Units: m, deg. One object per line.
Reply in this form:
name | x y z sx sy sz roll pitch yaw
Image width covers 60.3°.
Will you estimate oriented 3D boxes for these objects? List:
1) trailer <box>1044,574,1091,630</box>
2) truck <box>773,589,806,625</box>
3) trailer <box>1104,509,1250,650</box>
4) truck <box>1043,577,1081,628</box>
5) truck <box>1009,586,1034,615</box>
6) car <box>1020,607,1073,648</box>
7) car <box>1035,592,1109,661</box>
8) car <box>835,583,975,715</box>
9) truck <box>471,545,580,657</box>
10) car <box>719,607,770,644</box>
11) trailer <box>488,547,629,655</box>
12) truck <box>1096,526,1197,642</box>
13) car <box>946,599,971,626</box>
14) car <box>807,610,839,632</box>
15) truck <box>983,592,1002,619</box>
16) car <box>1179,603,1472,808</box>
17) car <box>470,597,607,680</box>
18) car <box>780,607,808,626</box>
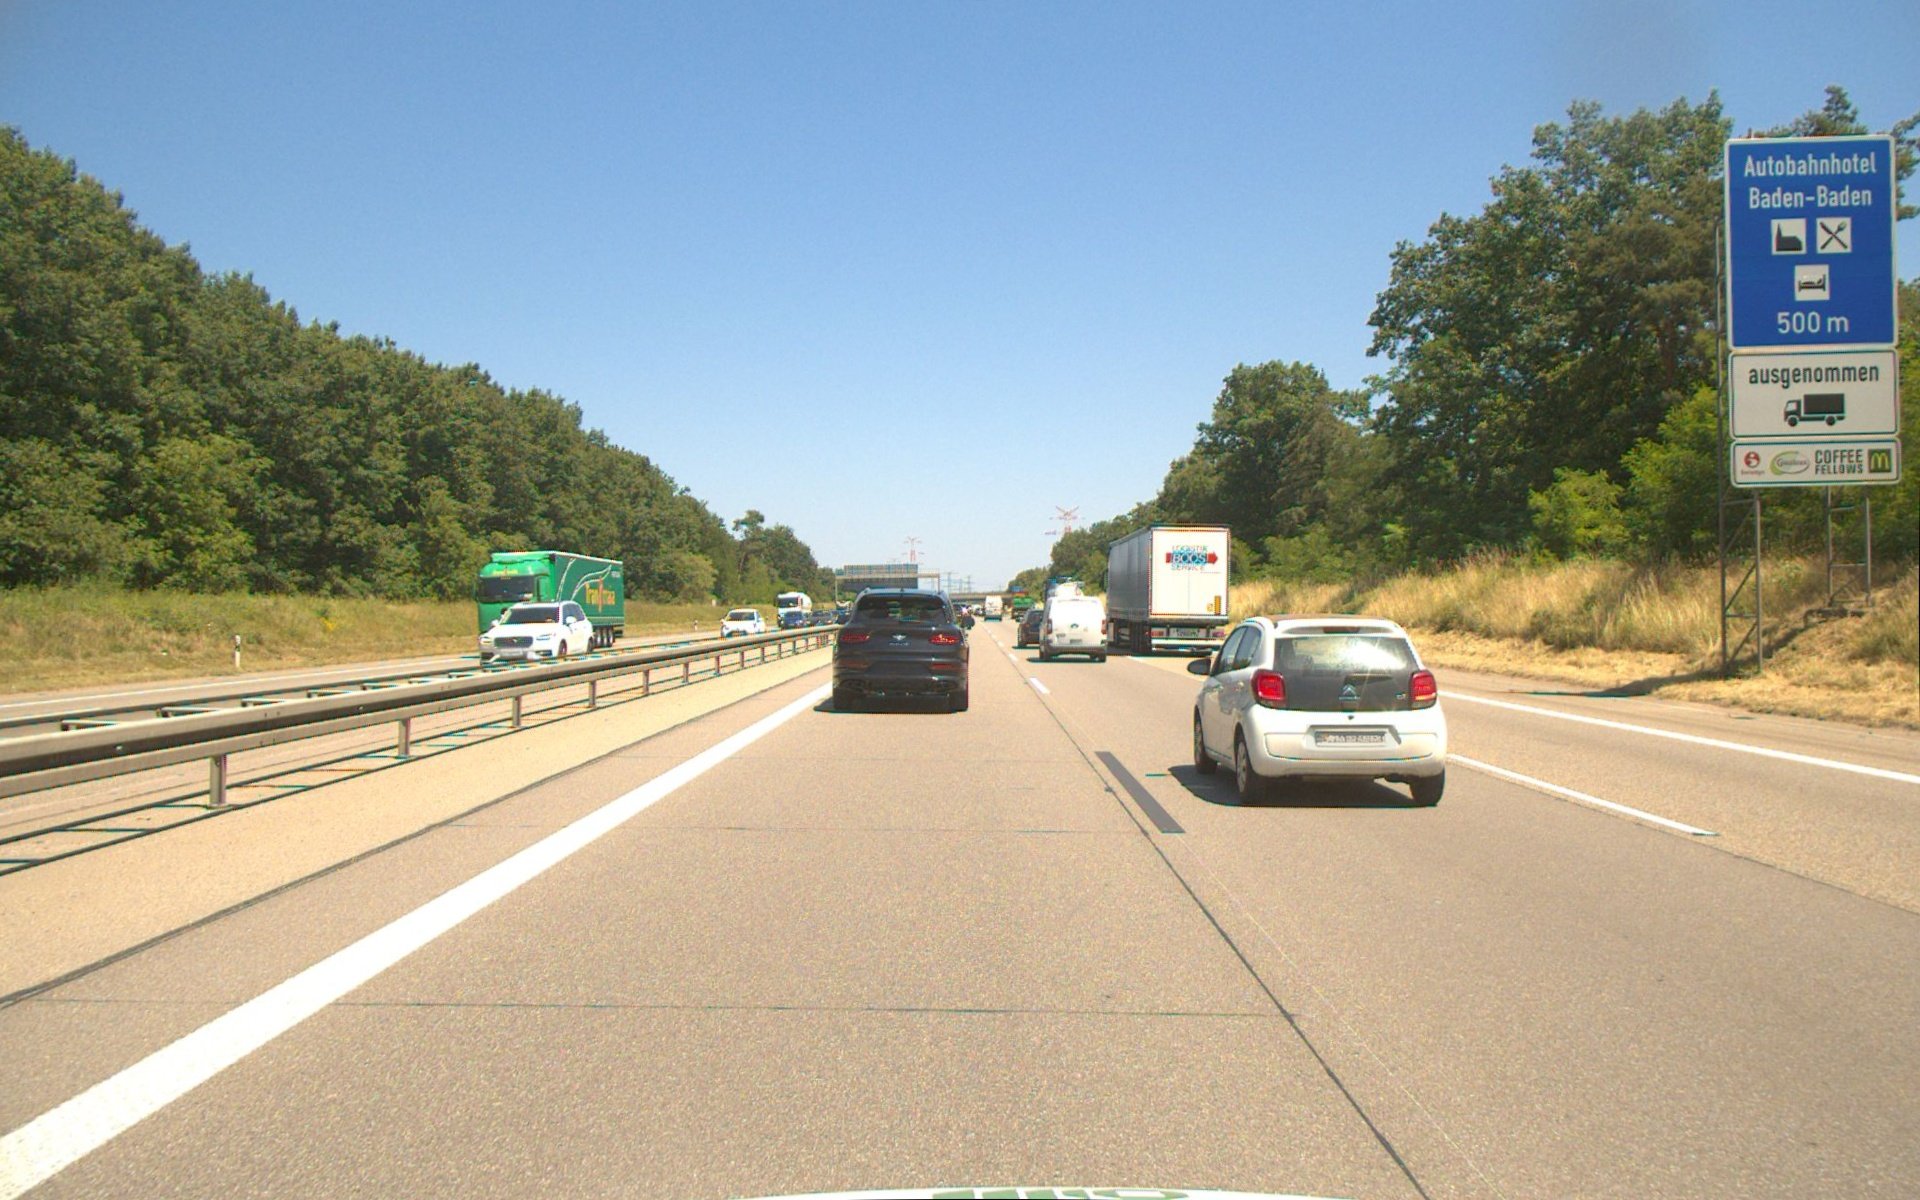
trailer | 7.995 0.194 124.127 2.628 3.904 12.008 1 0 0
truck | -17.340 0.668 168.696 2.627 3.494 6.144 -2 0 0
trailer | 7.311 -0.590 57.868 3.219 4.293 13.563 1 0 0
truck | 7.977 0.238 129.813 2.628 3.904 4.443 1 -1 0
truck | 8.530 0.121 229.890 2.928 3.794 10.088 1 0 0
car | 3.209 1.016 61.852 1.738 1.498 3.872 0 0 0
car | 3.181 0.743 47.852 1.777 1.859 5.110 0 0 0
car | -0.779 0.649 25.550 1.901 1.783 5.812 1 0 -1
truck | -17.744 0.054 67.958 2.645 4.233 6.296 -3 0 0
car | -9.647 1.127 74.331 1.622 1.526 4.600 -3 0 0
trailer | -17.743 0.068 74.382 2.649 4.233 14.337 -3 0 0
truck | 7.273 -0.574 65.219 3.219 4.293 6.007 1 -1 0
car | -0.094 0.836 111.401 1.593 1.785 3.804 1 0 0
car | -9.303 1.418 112.737 1.674 1.435 5.083 -3 0 0
truck | 3.632 0.654 187.990 2.018 2.965 7.002 0 0 0
car | 3.016 0.796 14.440 1.673 1.521 4.024 1 0 0
car | -10.404 0.888 41.287 1.914 1.823 5.562 -3 0 0
car | -13.439 1.332 134.090 1.640 1.468 5.135 -2 0 0
